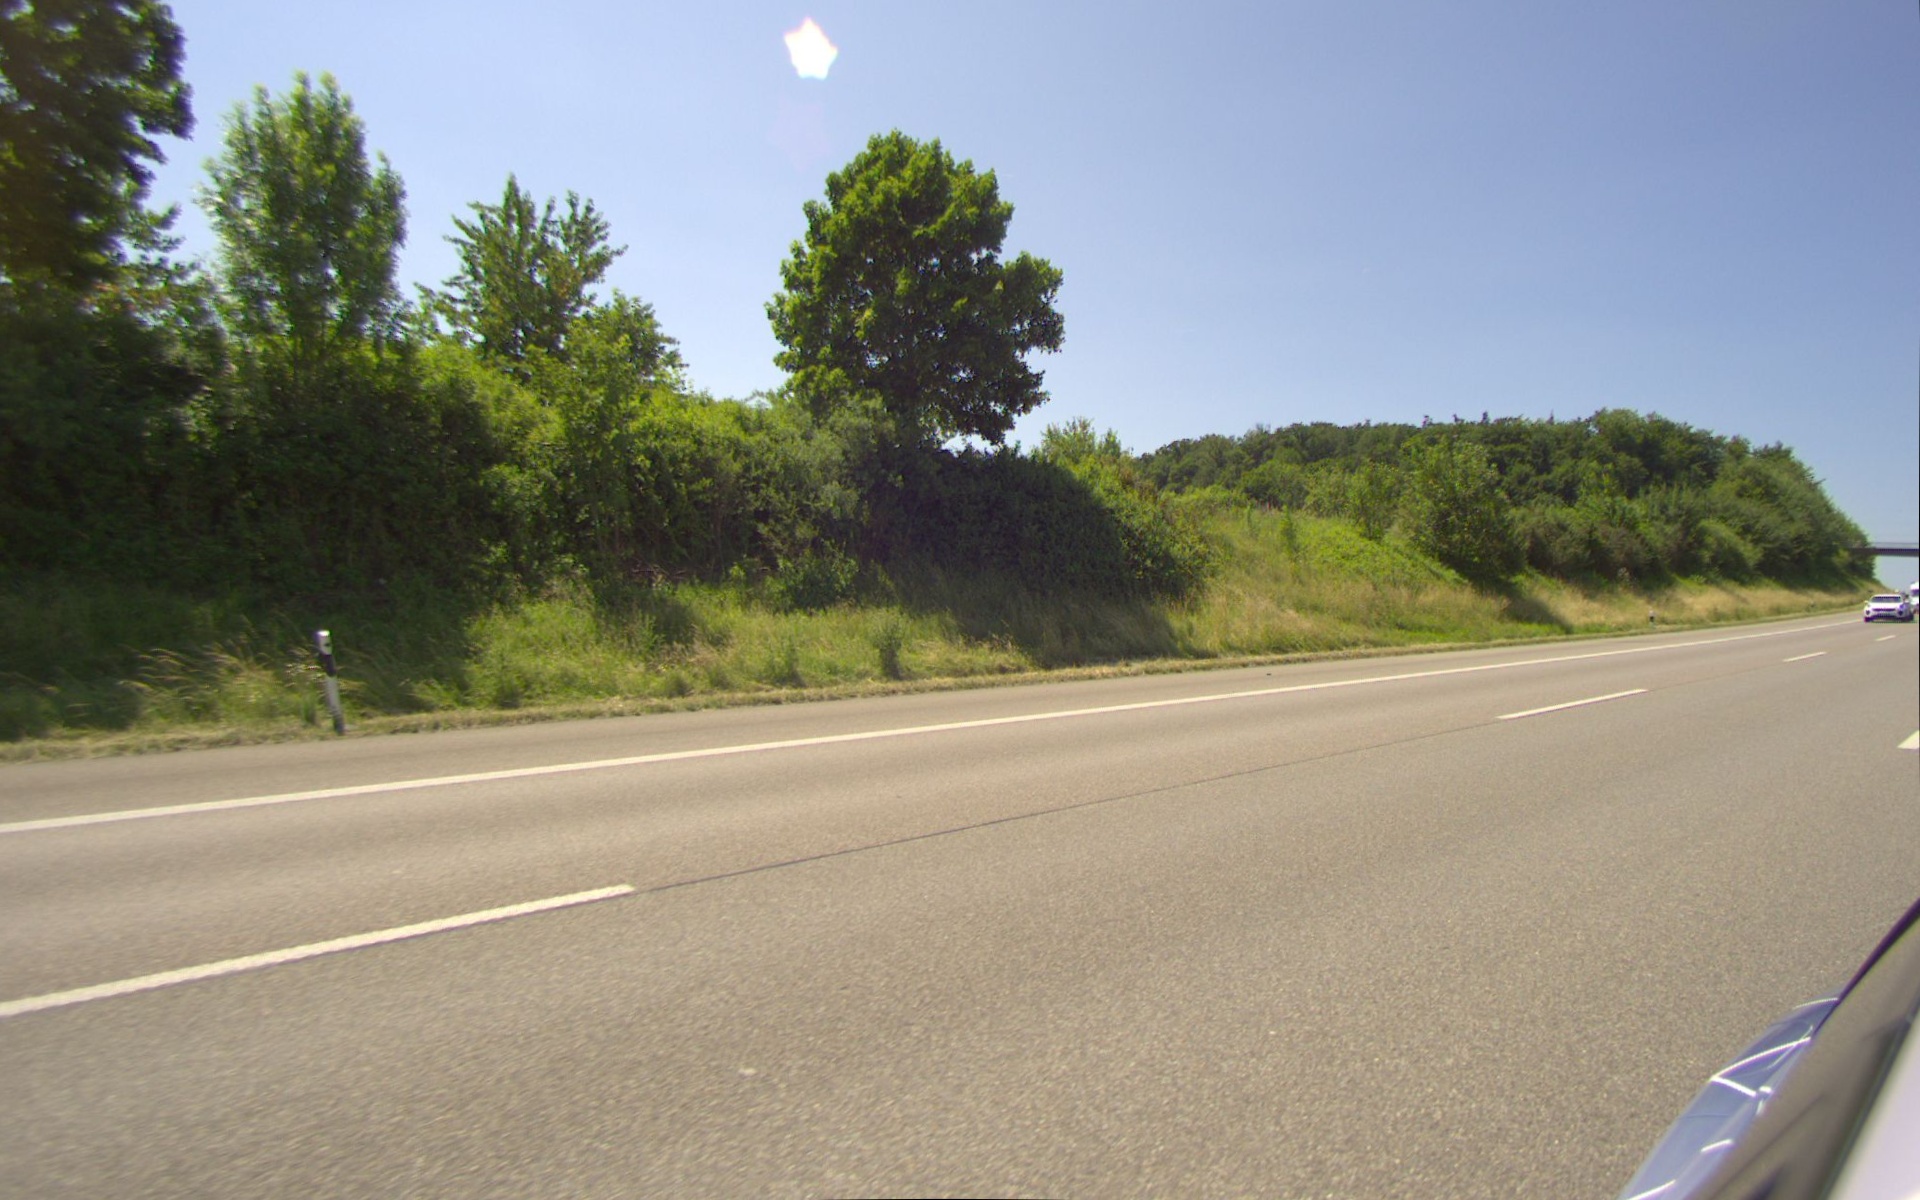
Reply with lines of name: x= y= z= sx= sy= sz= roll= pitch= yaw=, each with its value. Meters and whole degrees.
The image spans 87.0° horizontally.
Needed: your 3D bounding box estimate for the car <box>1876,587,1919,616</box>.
car: x=55.842 y=0.084 z=60.077 sx=4.328 sy=1.672 sz=1.783 roll=1 pitch=-1 yaw=-43
